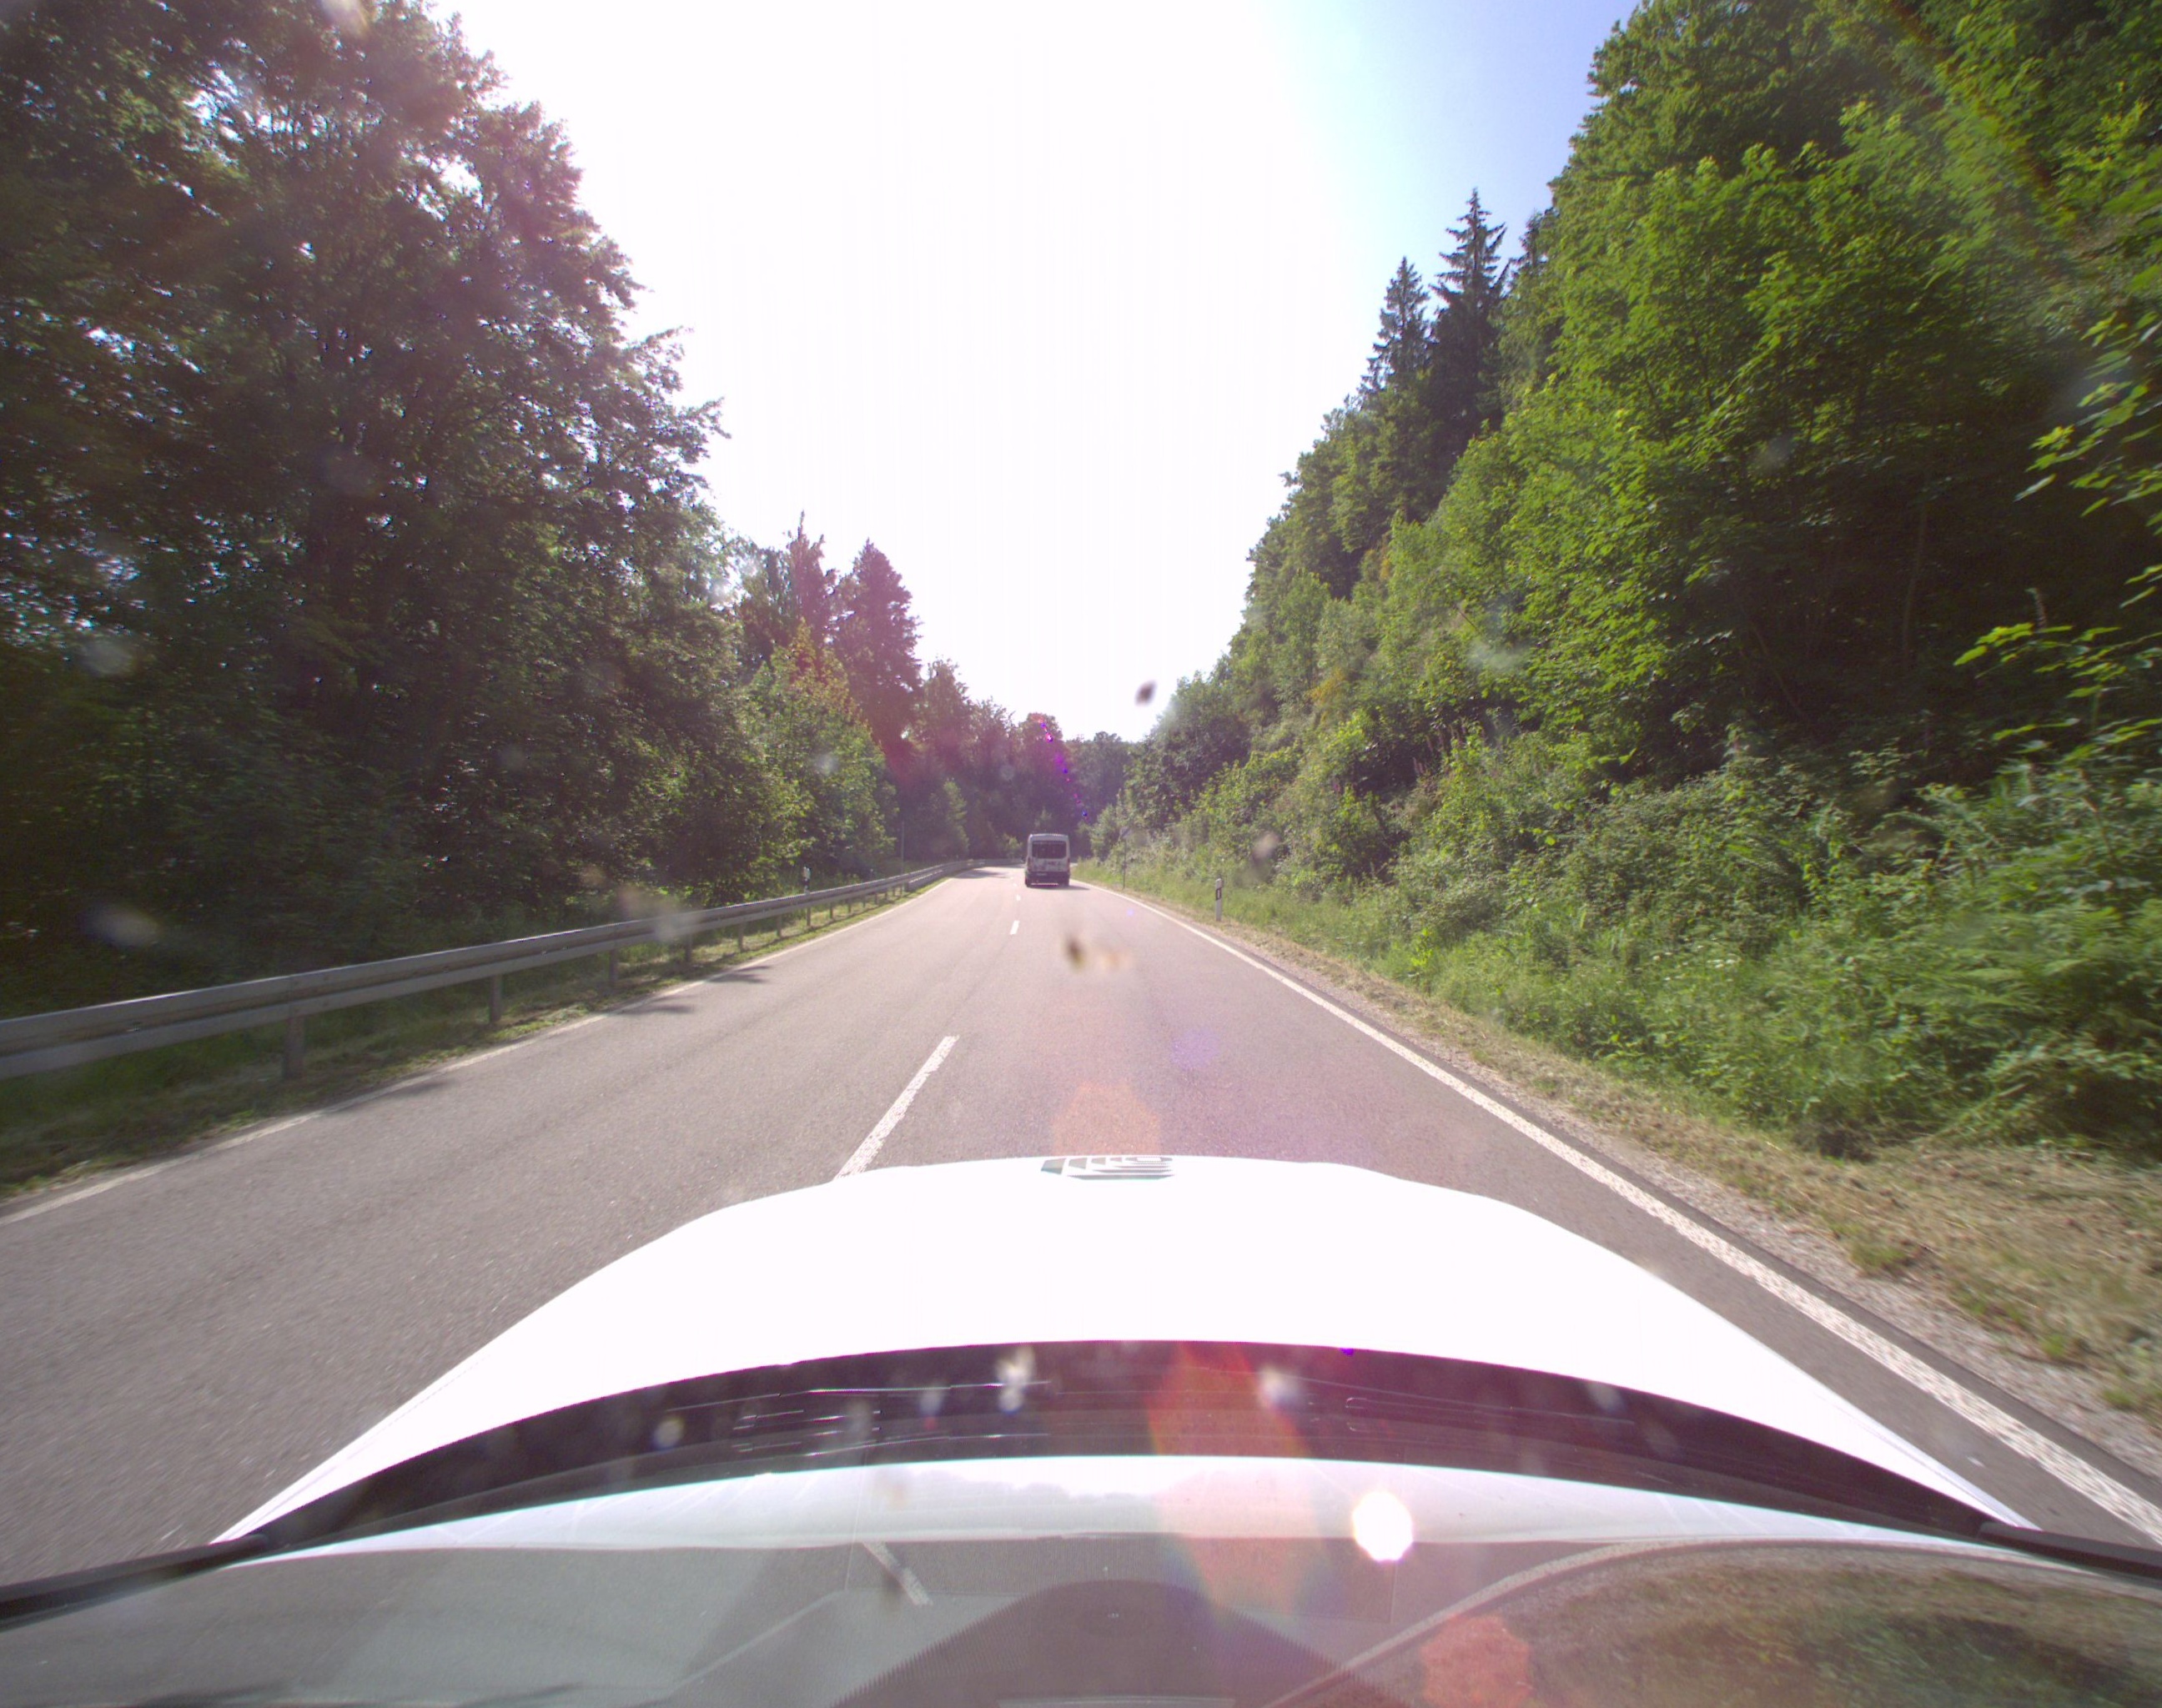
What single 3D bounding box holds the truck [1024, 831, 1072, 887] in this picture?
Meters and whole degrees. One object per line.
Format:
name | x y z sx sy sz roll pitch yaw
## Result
truck | -1.687 0.213 39.639 2.112 2.498 5.350 0 0 -5
